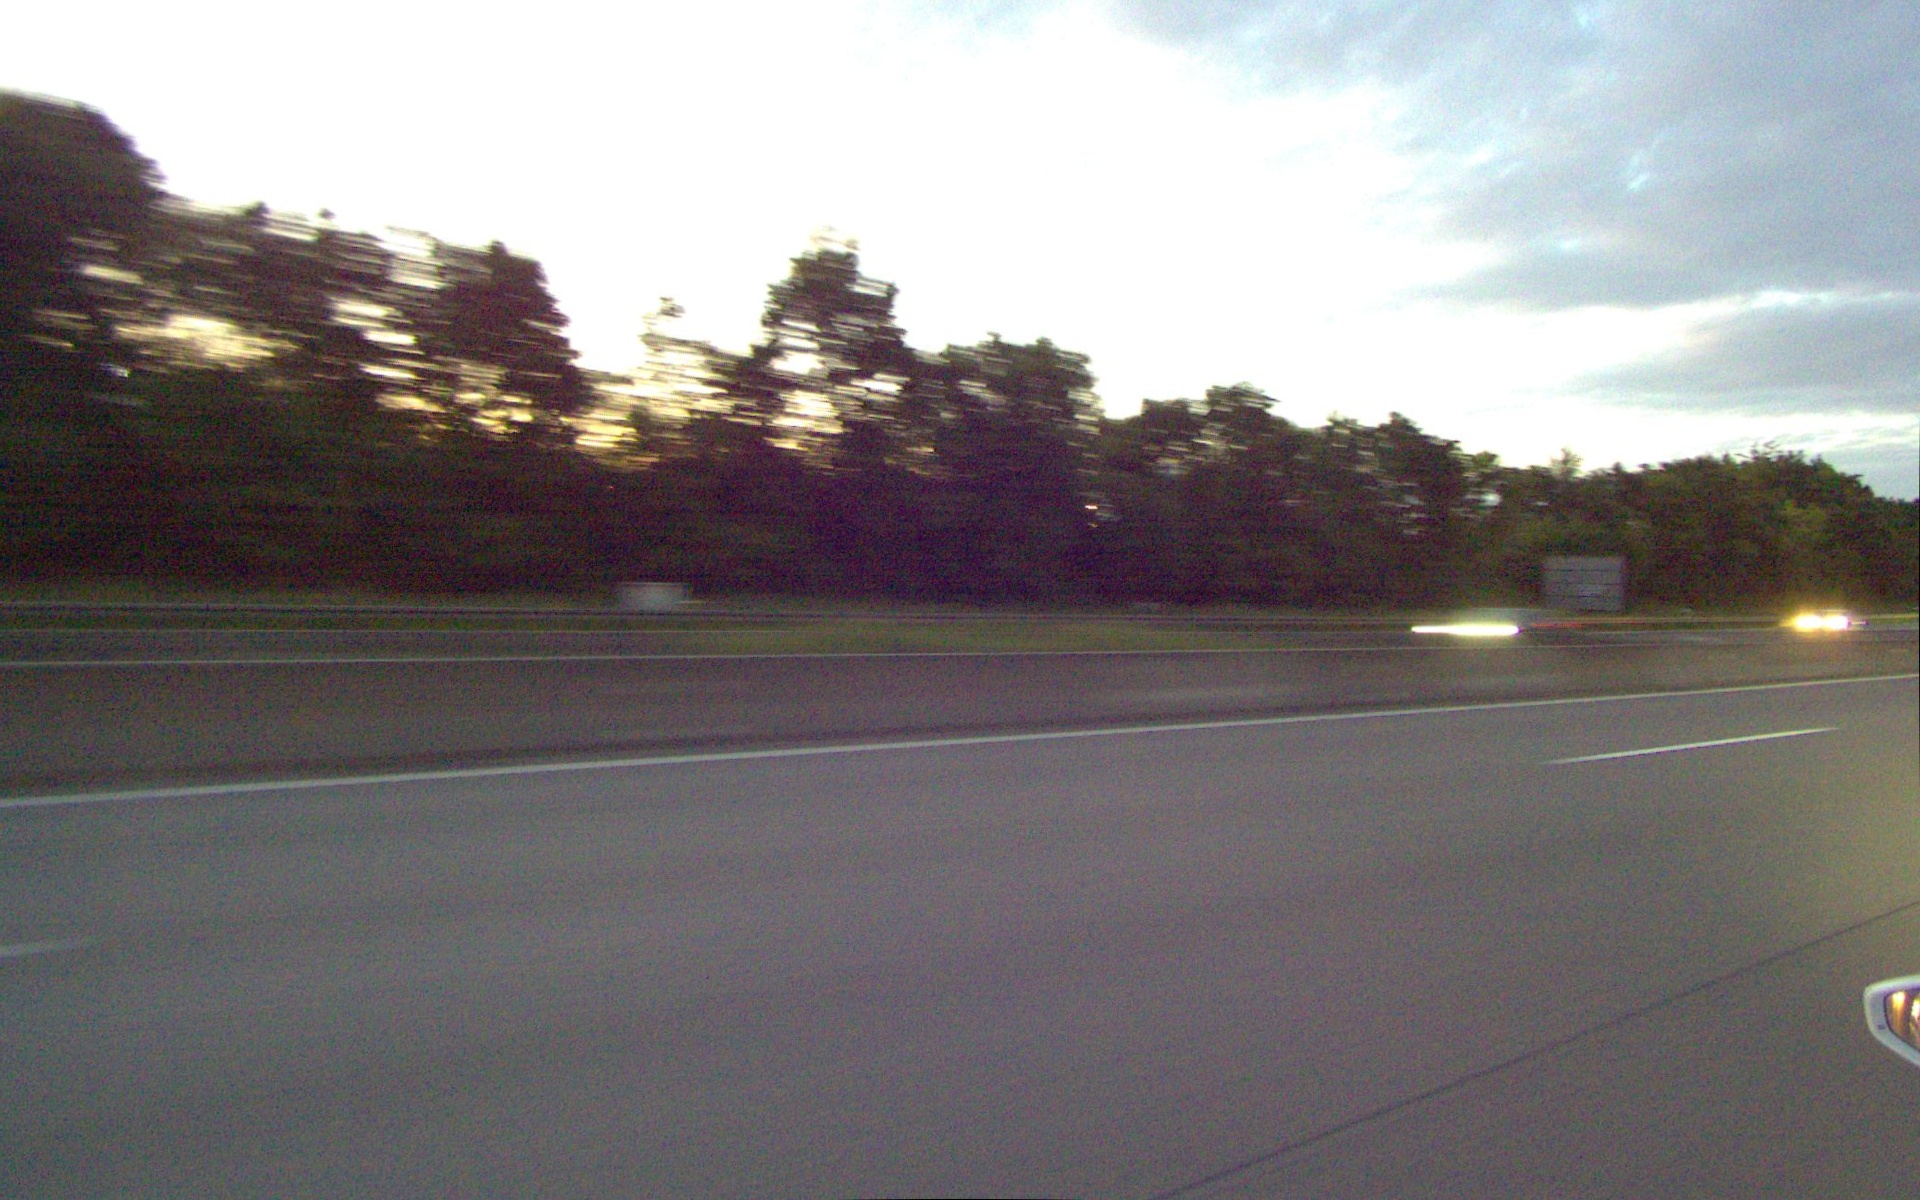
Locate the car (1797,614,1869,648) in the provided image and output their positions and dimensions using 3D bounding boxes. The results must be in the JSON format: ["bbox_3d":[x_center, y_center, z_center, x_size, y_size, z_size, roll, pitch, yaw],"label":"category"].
[{"bbox_3d":[53.636,1.903,61.706,5.003,1.918,1.982,2,0,-33],"label":"car"}]

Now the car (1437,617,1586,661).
[{"bbox_3d":[18.444,1.312,33.530,5.175,1.242,2.049,2,0,-31],"label":"car"}]
